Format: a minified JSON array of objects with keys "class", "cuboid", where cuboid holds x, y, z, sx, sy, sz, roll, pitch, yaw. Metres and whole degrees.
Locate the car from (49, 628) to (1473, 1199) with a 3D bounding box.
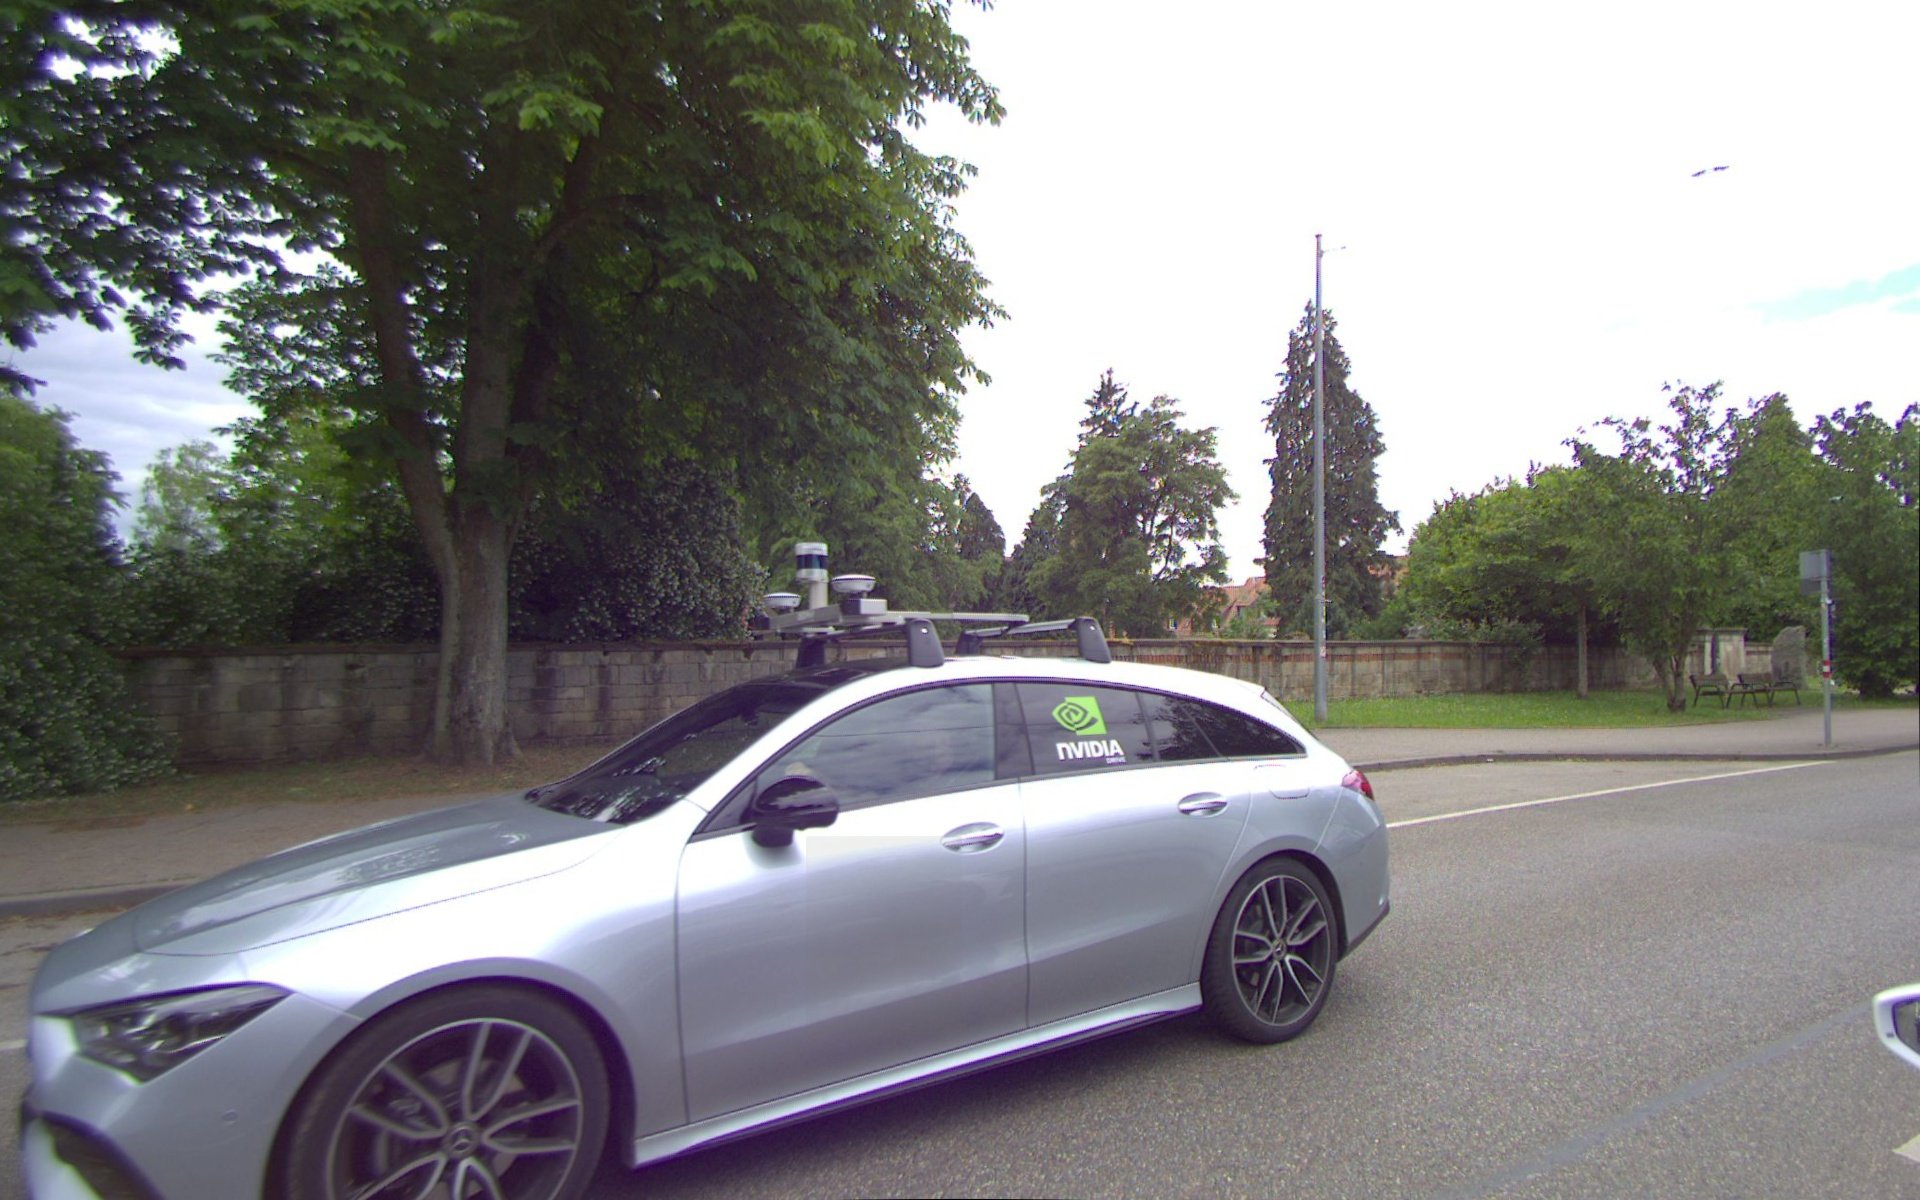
[{"class":"car","cuboid":[-0.244,0.888,3.752,4.363,1.421,1.749,2,-5,-30]}]
